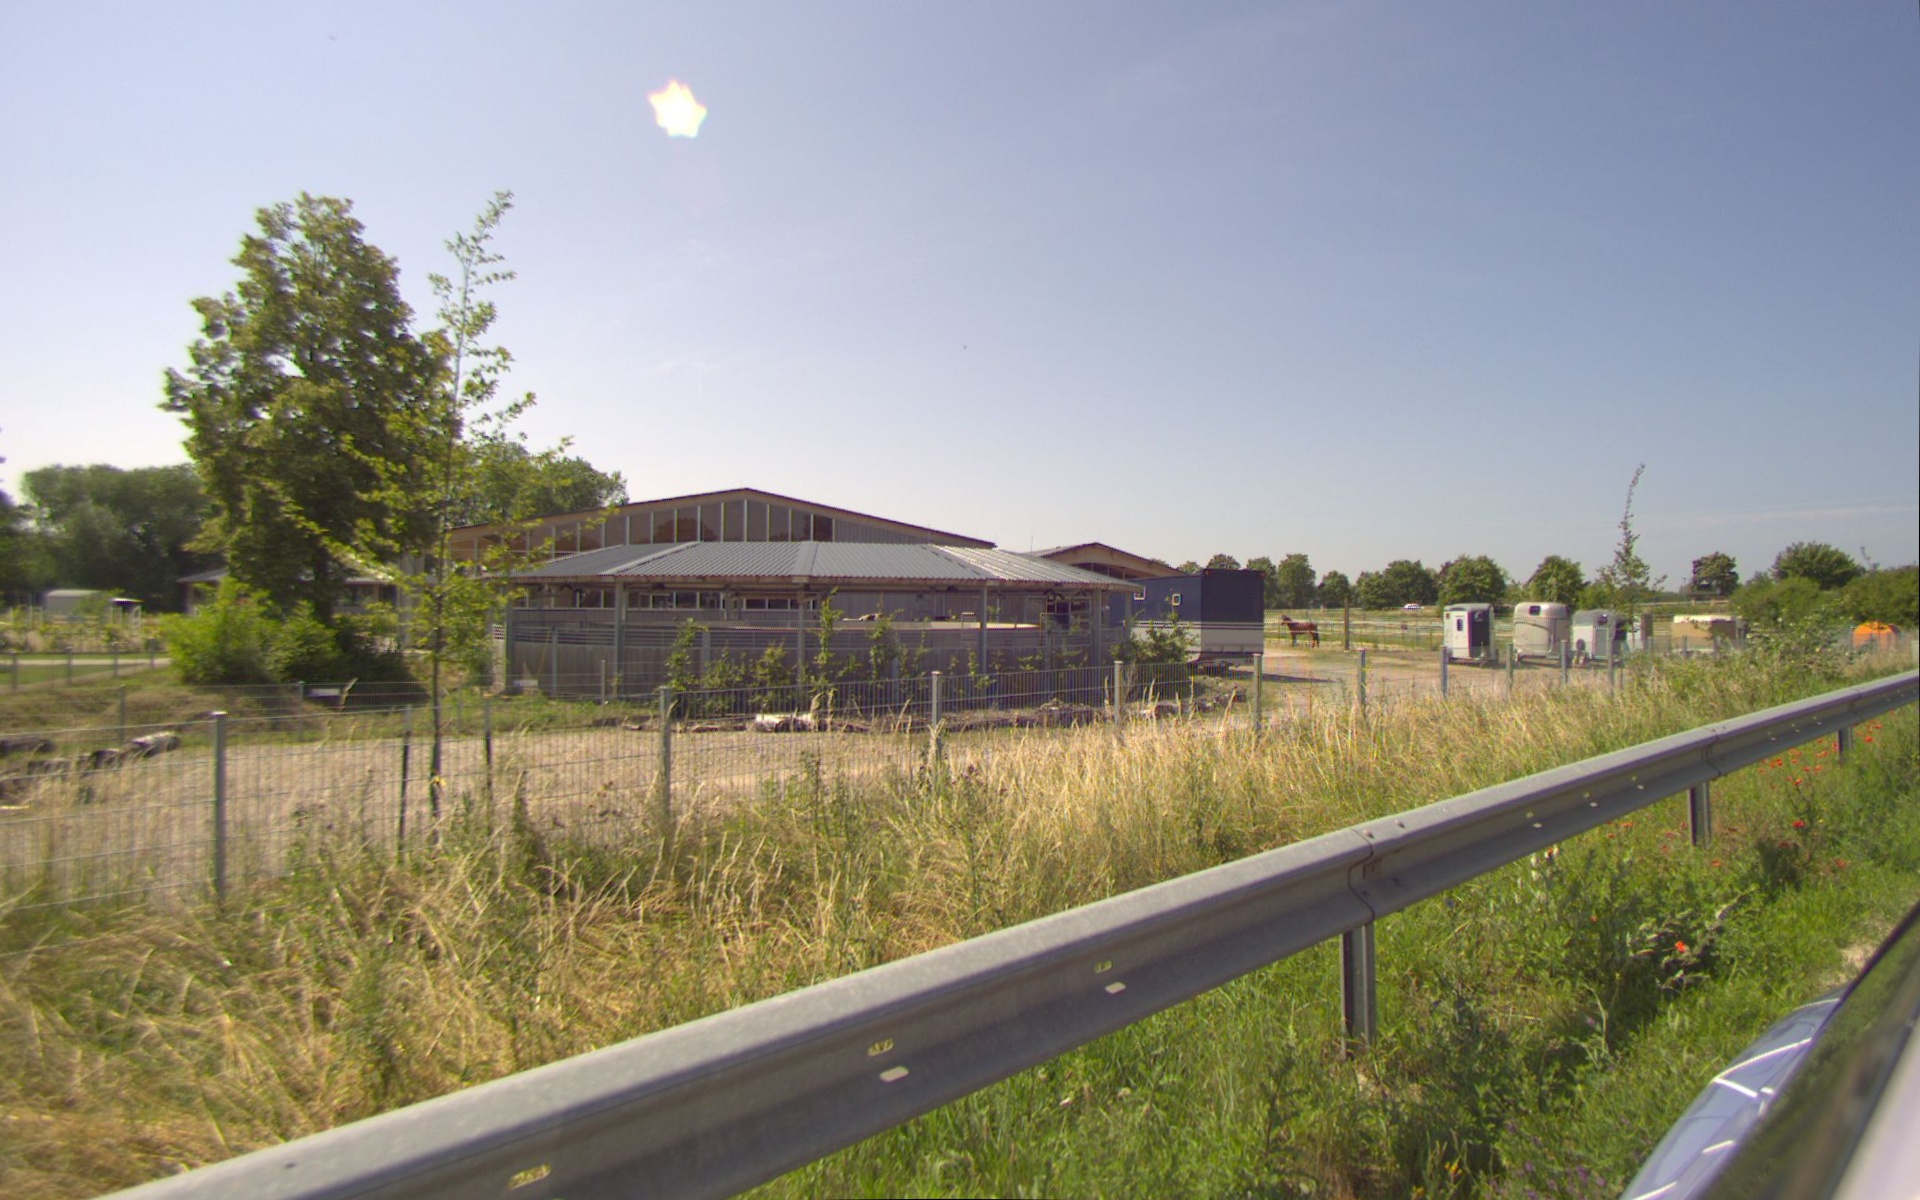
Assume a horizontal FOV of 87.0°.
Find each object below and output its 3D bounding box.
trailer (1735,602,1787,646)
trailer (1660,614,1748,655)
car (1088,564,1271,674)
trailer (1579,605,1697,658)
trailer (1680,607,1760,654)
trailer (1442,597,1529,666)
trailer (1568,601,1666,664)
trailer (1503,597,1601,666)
[{"bbox_3d":[53.799,1.658,68.033,1.981,2.843,3.343,-4,-5,28],"label":"trailer"},{"bbox_3d":[45.470,2.123,61.993,1.966,2.422,4.097,0,-2,-7],"label":"trailer"},{"bbox_3d":[8.029,0.689,38.613,2.721,3.699,9.014,0,-1,-17],"label":"car"},{"bbox_3d":[36.726,1.666,55.004,2.162,2.722,5.198,1,-1,-14],"label":"trailer"},{"bbox_3d":[48.240,1.897,64.327,2.119,2.841,3.427,0,-1,-17],"label":"trailer"},{"bbox_3d":[22.913,1.305,44.326,2.140,2.703,4.468,1,1,10],"label":"trailer"},{"bbox_3d":[29.911,1.436,46.275,1.795,2.662,4.544,3,0,6],"label":"trailer"},{"bbox_3d":[26.618,1.359,45.731,2.199,2.901,5.029,1,0,10],"label":"trailer"}]
